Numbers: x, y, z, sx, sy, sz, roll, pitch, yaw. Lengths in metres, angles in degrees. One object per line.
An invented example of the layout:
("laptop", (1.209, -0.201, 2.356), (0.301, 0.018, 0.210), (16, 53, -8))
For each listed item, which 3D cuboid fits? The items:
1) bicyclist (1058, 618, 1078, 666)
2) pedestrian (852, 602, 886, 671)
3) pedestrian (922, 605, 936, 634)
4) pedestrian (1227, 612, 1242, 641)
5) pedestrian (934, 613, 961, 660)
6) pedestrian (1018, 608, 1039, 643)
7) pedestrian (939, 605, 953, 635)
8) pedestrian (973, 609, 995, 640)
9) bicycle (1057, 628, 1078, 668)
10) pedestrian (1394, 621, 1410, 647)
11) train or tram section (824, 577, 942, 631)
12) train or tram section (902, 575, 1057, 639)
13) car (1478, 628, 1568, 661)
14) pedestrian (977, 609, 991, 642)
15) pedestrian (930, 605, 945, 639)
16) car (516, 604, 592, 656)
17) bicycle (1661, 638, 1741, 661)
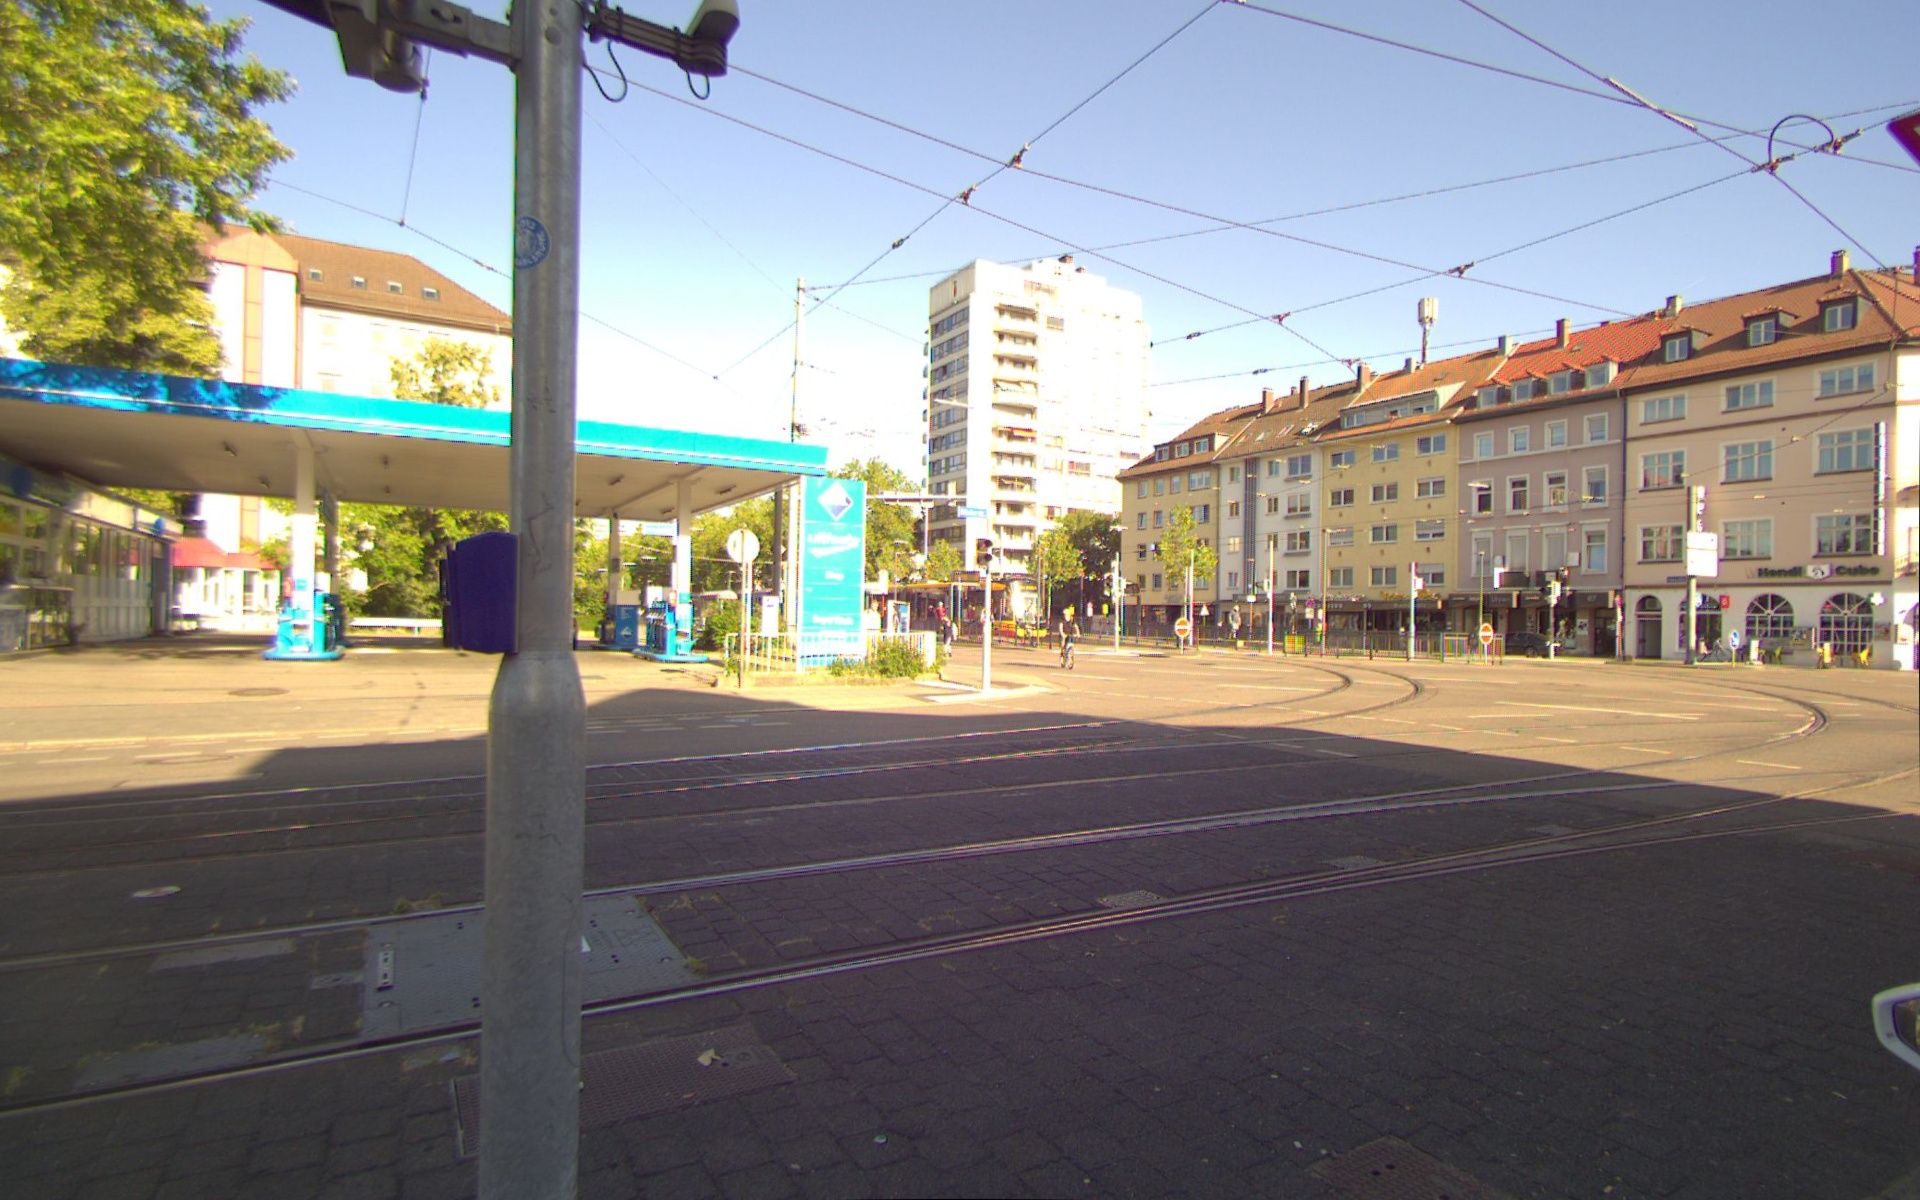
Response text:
("bicyclist", (3.187, 1.230, 29.707), (0.549, 1.384, 0.803), (2, 0, 5))
("pedestrian", (-2.565, 1.008, 28.282), (0.778, 1.893, 0.674), (2, 0, 6))
("pedestrian", (-1.738, 1.072, 56.087), (0.580, 1.613, 0.520), (2, 0, -31))
("pedestrian", (15.777, 1.517, 57.766), (0.570, 1.649, 0.522), (2, 0, -31))
("pedestrian", (-0.453, 1.327, 36.246), (0.675, 1.656, 0.694), (2, 0, -35))
("pedestrian", (3.197, 1.201, 46.819), (0.808, 1.608, 0.704), (1, -1, -8))
("pedestrian", (-0.770, 1.110, 55.537), (0.580, 1.613, 0.520), (2, 0, -31))
("pedestrian", (1.201, 1.214, 50.109), (0.814, 1.532, 0.699), (1, -1, -33))
("bicycle", (3.160, 1.400, 29.706), (0.563, 1.084, 1.795), (2, 0, 5))
("pedestrian", (28.859, 2.235, 65.575), (0.693, 1.656, 0.629), (2, 0, -33))
("train or tram section", (-5.500, 0.212, 68.022), (2.751, 3.273, 12.286), (2, 0, -31))
("train or tram section", (0.761, 0.339, 57.514), (2.751, 3.273, 12.286), (2, 0, -31))
("car", (30.858, 2.424, 55.140), (1.970, 1.692, 3.981), (1, -1, -21))
("pedestrian", (1.243, 1.322, 51.717), (0.575, 1.686, 0.525), (2, 0, 15))
("pedestrian", (-1.270, 1.246, 56.577), (0.666, 1.913, 0.520), (2, 0, -31))
("car", (-12.180, 0.869, 30.066), (1.764, 1.411, 3.455), (2, 0, -28))
("bicycle", (37.503, 2.497, 50.896), (0.989, 0.993, 3.115), (2, 0, -29))
